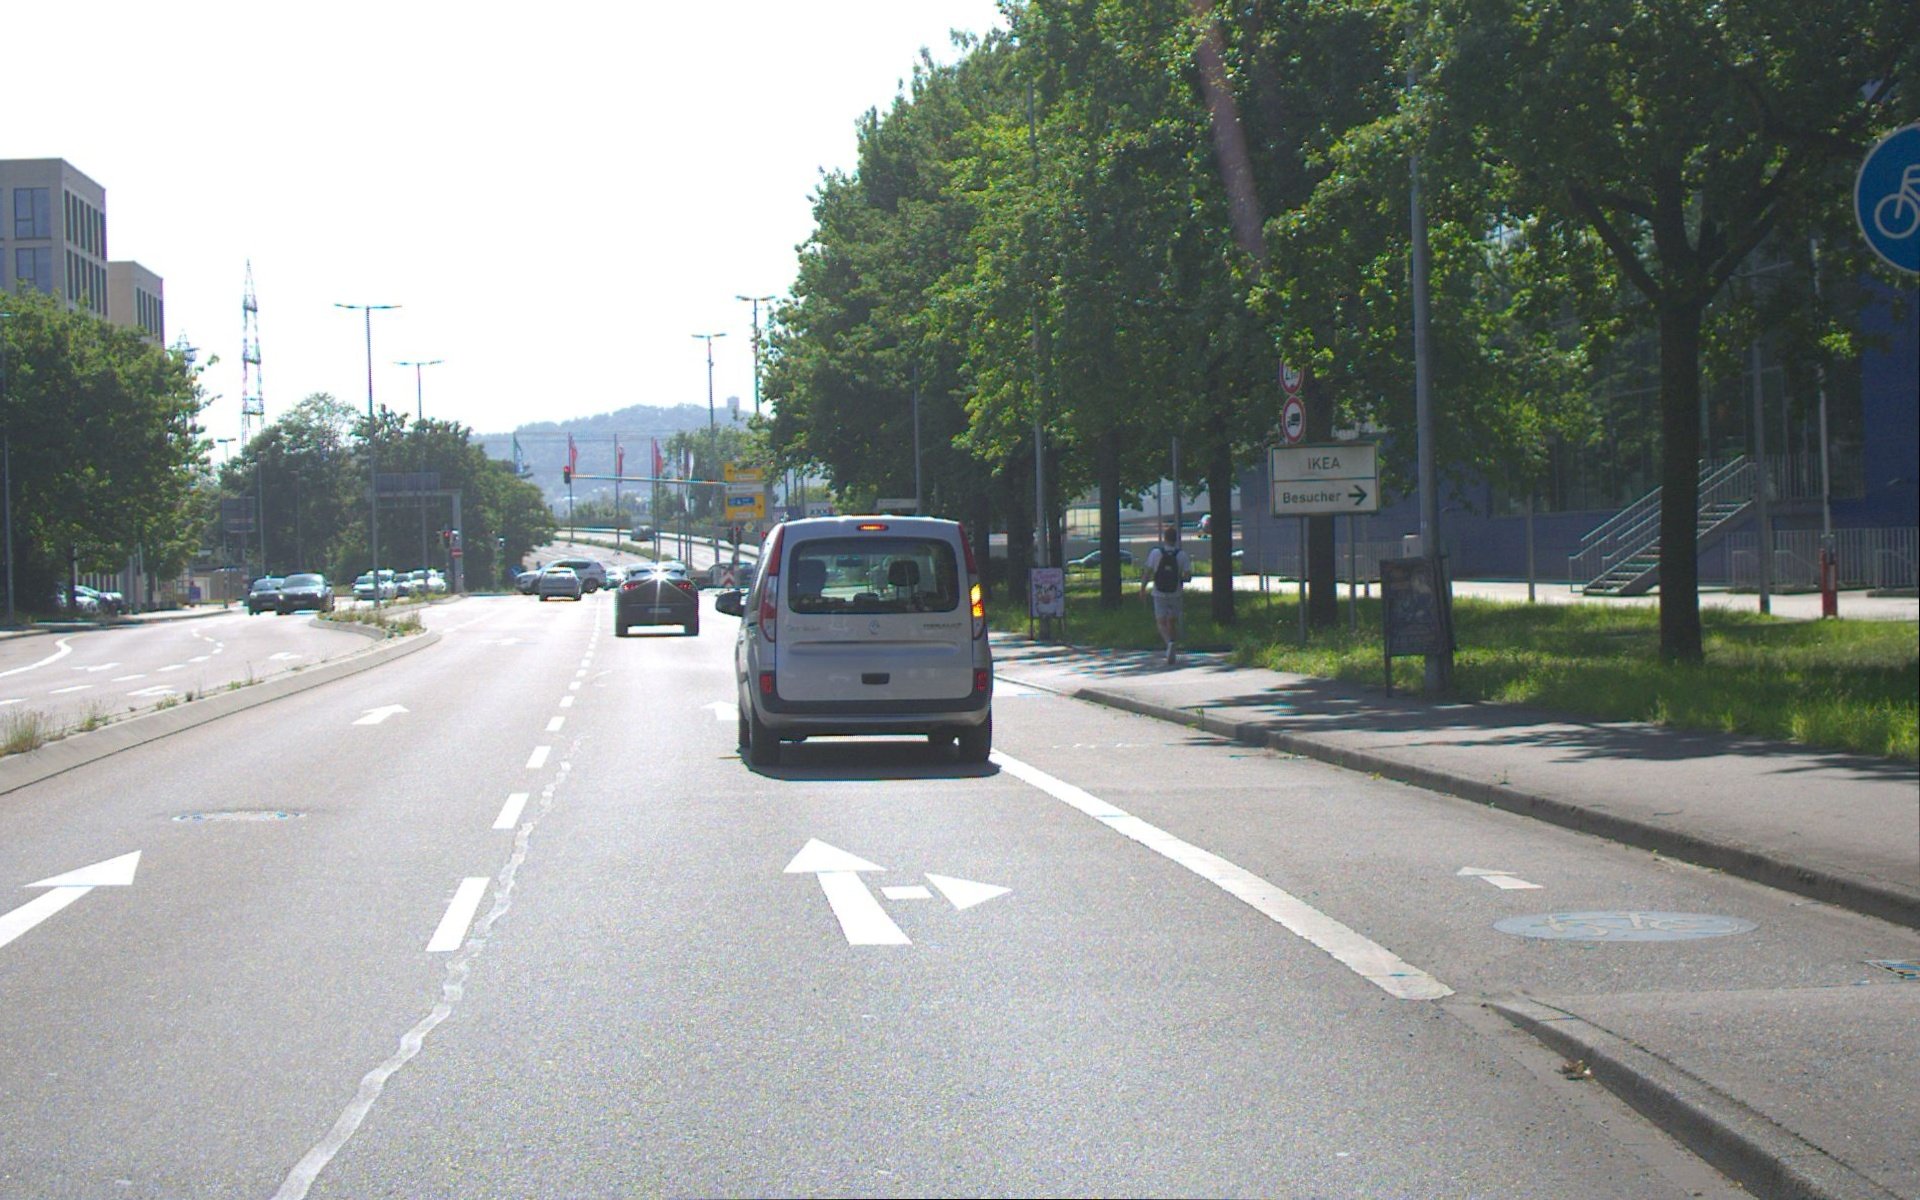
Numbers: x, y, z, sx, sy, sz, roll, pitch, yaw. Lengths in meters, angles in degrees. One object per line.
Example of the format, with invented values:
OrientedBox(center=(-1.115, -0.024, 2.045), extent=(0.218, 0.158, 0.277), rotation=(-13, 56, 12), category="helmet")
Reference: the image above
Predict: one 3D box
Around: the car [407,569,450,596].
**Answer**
OrientedBox(center=(-30.457, -1.015, 197.153), extent=(1.815, 1.459, 4.000), rotation=(-2, 1, -1), category="car")

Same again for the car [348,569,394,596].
OrientedBox(center=(-33.514, -0.994, 195.713), extent=(1.892, 1.459, 4.000), rotation=(-2, 1, -1), category="car")

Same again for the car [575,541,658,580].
OrientedBox(center=(-18.113, -2.075, 181.113), extent=(3.986, 2.006, 2.001), rotation=(0, 2, -19), category="car")

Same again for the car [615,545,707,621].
OrientedBox(center=(-6.867, -0.417, 79.316), extent=(1.807, 1.634, 4.459), rotation=(-2, 1, -2), category="car")

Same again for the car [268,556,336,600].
OrientedBox(center=(-24.226, -0.825, 126.675), extent=(1.841, 1.458, 5.001), rotation=(-4, 1, -5), category="car")

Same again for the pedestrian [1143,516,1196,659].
OrientedBox(center=(2.737, -0.170, 45.001), extent=(0.535, 1.835, 0.728), rotation=(-2, 1, -5), category="pedestrian")

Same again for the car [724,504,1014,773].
OrientedBox(center=(-0.778, 0.240, 26.175), extent=(1.905, 1.822, 4.181), rotation=(-2, 1, -5), category="car")

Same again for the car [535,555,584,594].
OrientedBox(center=(-18.192, -1.185, 156.200), extent=(1.993, 1.678, 4.001), rotation=(-2, 1, -4), category="car")

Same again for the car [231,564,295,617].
OrientedBox(center=(-28.063, -0.402, 138.426), extent=(1.993, 2.006, 4.001), rotation=(0, 2, -4), category="car")
